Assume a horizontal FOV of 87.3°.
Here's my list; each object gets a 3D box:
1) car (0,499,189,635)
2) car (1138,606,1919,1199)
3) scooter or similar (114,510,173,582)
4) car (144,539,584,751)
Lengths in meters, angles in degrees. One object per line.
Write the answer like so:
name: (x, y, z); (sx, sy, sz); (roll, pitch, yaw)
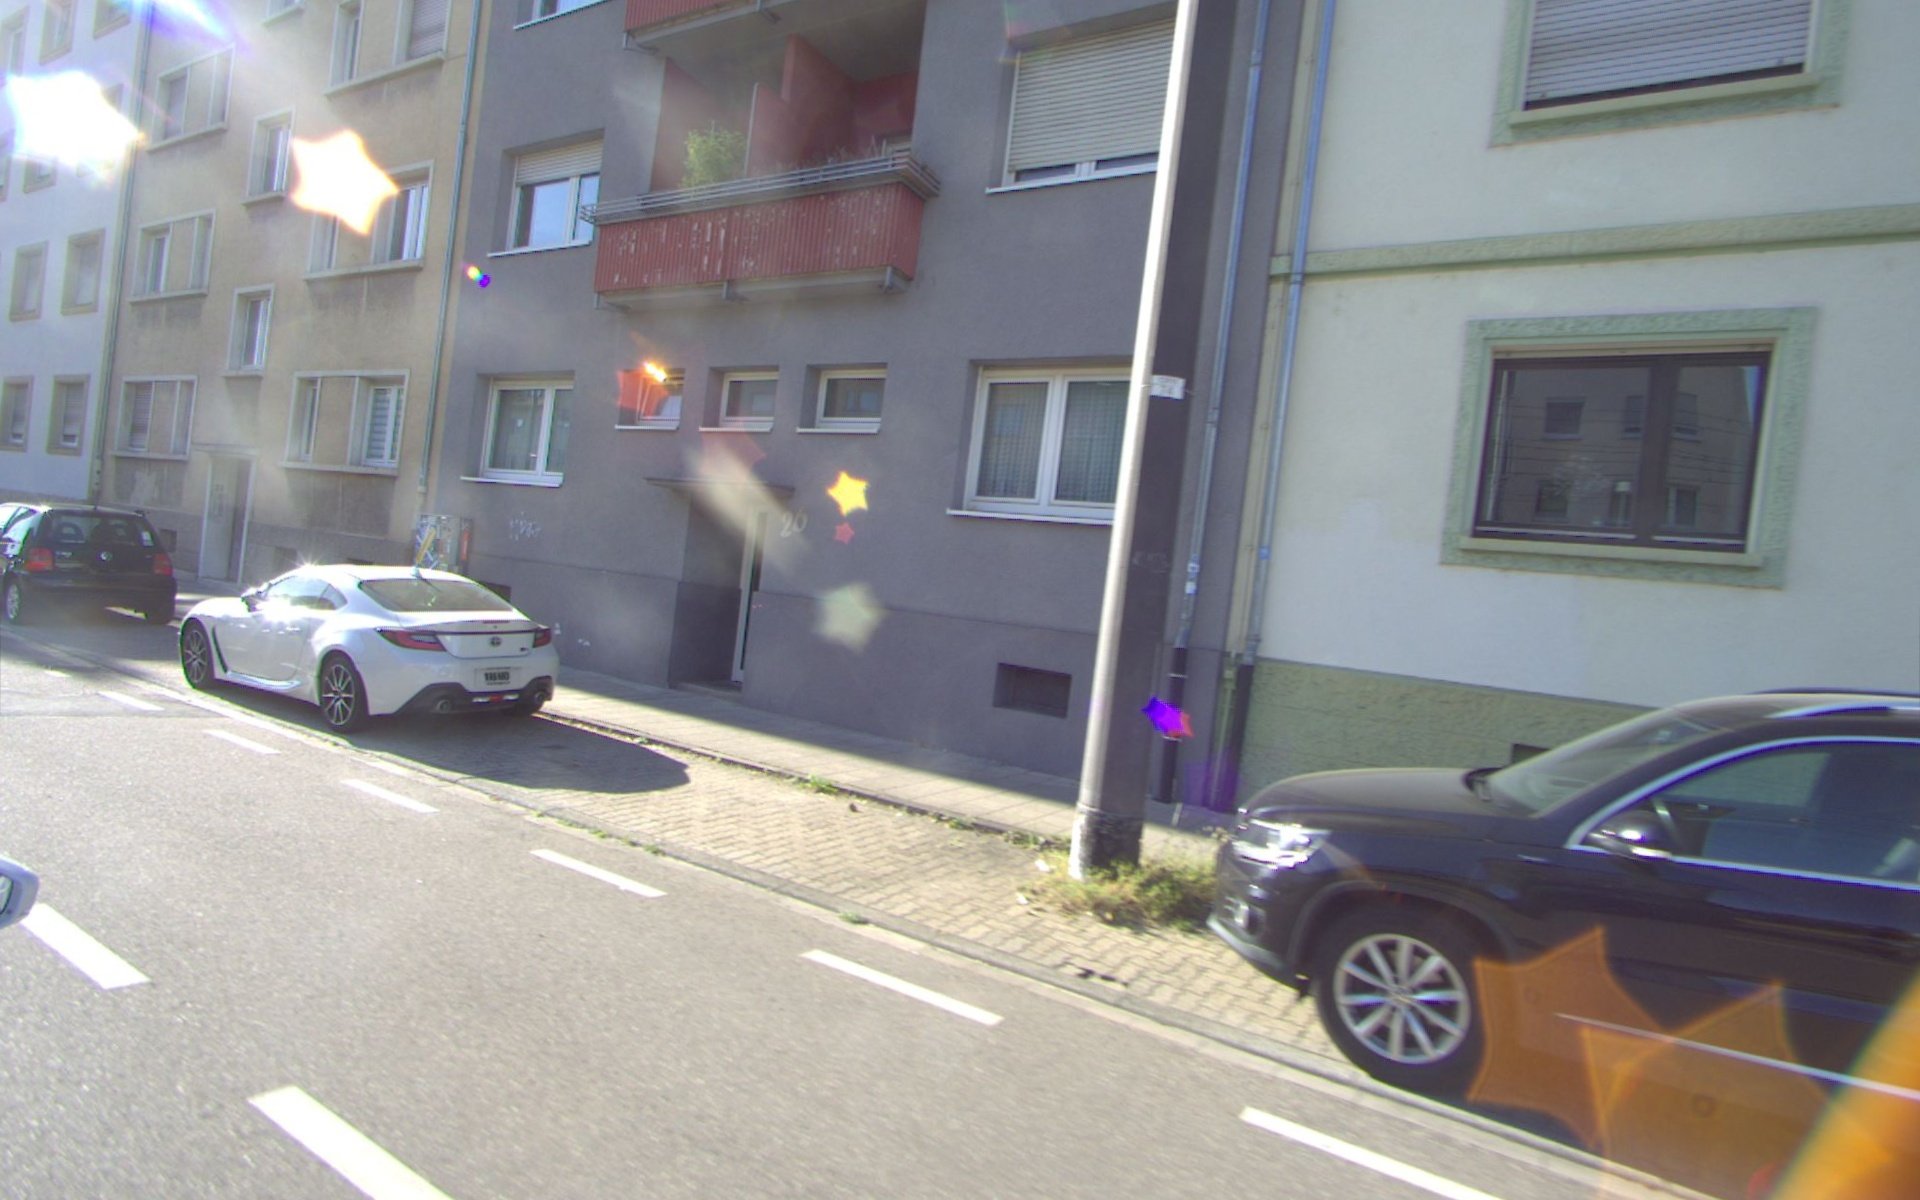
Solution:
car: (-12.064, -0.505, 13.371); (3.727, 1.473, 1.636); (7, 2, 32)
car: (3.081, 1.110, 3.826); (4.299, 1.669, 1.637); (7, 2, 30)
scooter or similar: (-15.578, -1.035, 19.182); (1.316, 1.256, 0.458); (7, 4, 32)
car: (-5.635, 0.290, 9.361); (4.231, 1.293, 1.702); (7, 3, 31)
